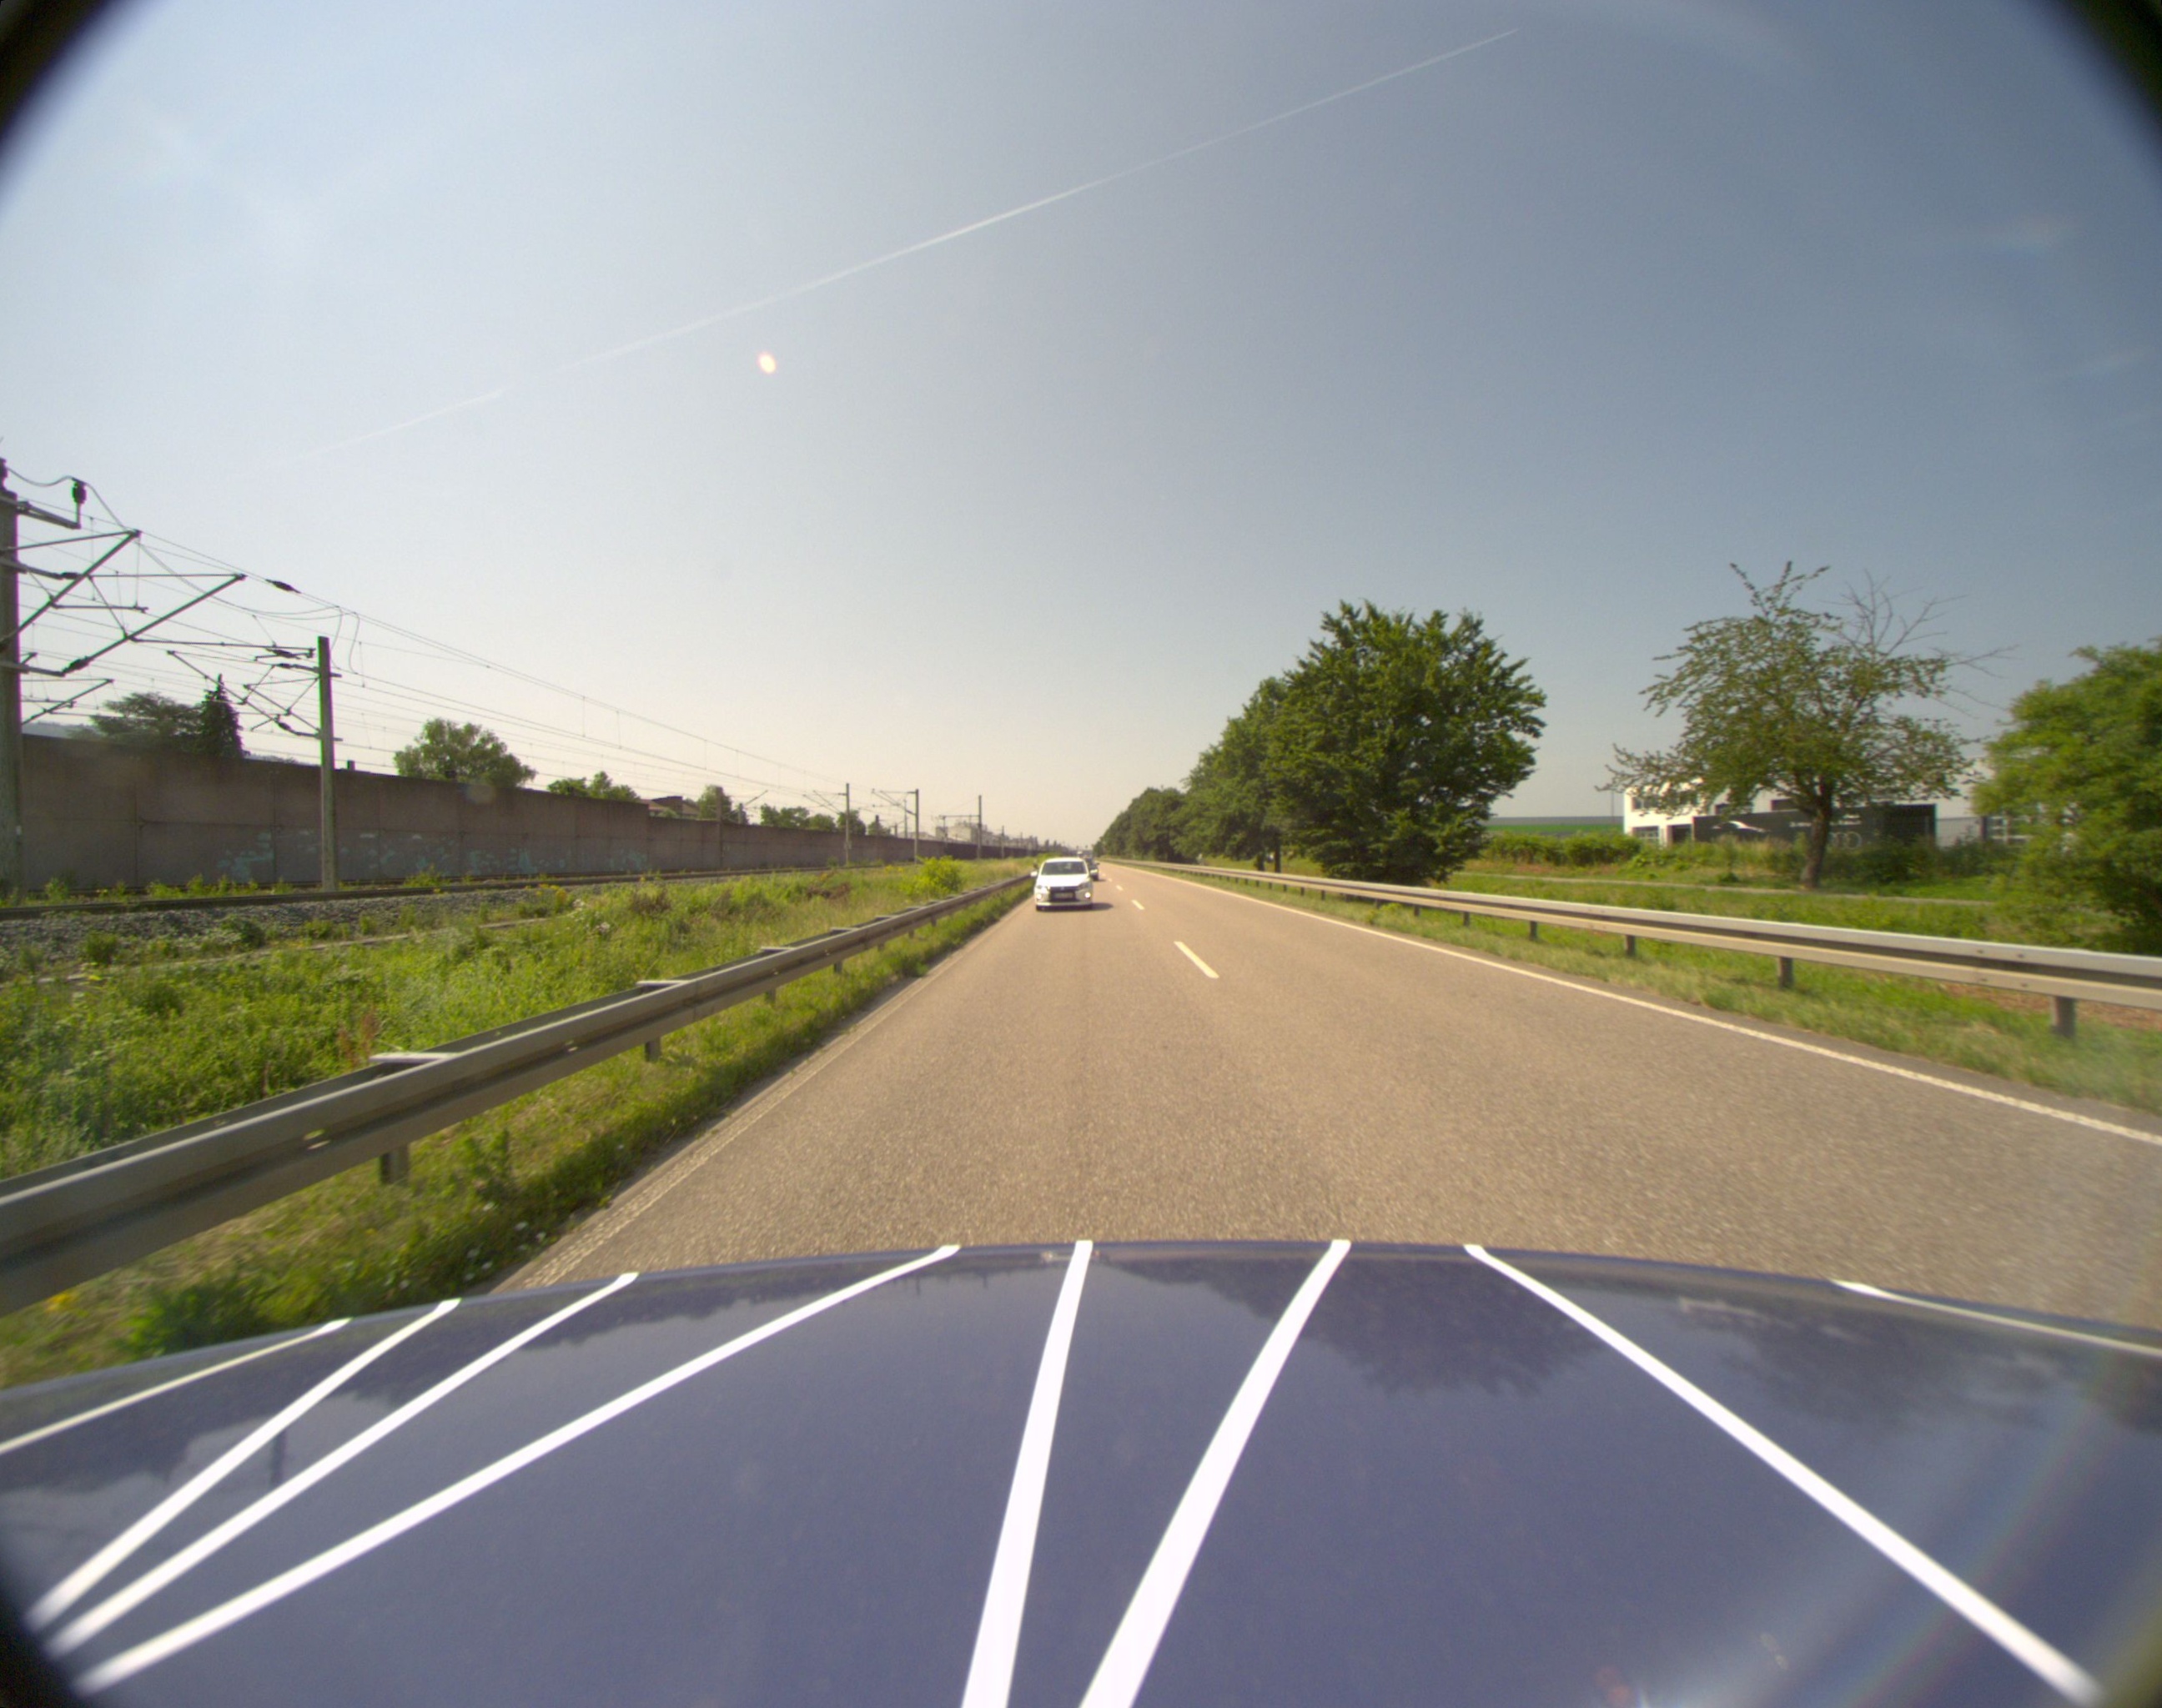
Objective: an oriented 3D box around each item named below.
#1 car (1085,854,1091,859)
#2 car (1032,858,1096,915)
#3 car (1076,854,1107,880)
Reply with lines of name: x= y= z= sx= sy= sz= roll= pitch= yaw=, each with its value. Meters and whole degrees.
car: x=2.113 y=0.775 z=229.333 sx=1.711 sy=1.470 sz=4.155 roll=1 pitch=0 yaw=0
car: x=-0.471 y=0.907 z=22.798 sx=1.701 sy=1.470 sz=4.155 roll=-2 pitch=0 yaw=0
car: x=0.597 y=0.733 z=45.943 sx=1.711 sy=1.470 sz=4.155 roll=-2 pitch=0 yaw=0
